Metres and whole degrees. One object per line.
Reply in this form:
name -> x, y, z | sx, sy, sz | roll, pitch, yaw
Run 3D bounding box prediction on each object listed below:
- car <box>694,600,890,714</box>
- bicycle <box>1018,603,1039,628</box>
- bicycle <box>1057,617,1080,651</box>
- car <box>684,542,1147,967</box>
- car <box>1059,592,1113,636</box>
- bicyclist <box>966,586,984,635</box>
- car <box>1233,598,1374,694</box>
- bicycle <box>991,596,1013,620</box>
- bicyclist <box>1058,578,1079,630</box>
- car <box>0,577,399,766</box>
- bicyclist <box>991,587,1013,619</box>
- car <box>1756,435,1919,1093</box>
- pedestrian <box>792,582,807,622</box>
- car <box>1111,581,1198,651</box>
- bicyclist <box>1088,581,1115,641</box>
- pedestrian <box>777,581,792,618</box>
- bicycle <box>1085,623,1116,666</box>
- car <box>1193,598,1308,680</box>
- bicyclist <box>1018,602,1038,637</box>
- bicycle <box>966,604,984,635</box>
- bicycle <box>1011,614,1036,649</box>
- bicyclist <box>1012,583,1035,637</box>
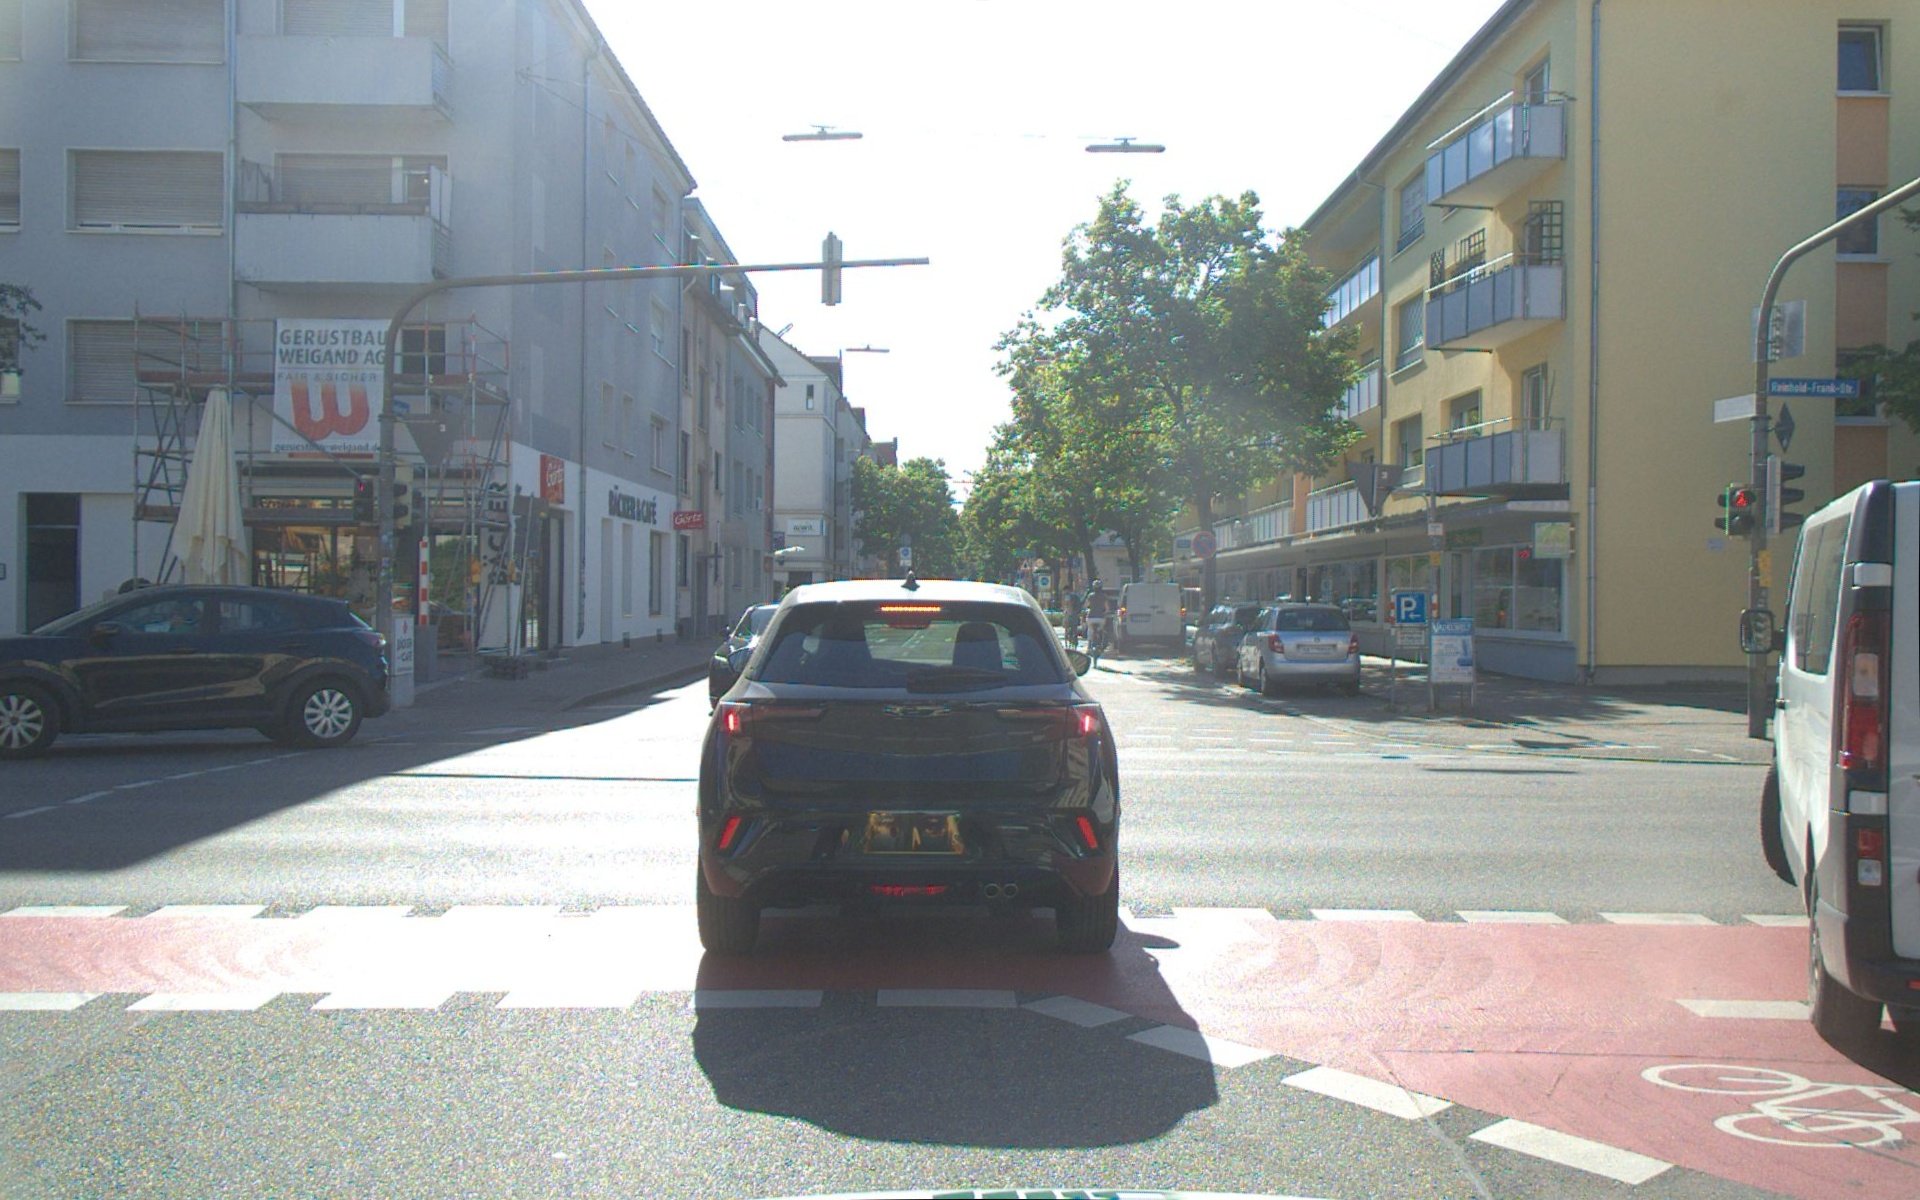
car -> -2.307, 0.755, 23.922 | 1.766, 1.437, 4.430 | -1, 0, 8
bicycle -> 2.443, 0.551, 59.285 | 0.677, 0.881, 1.876 | 0, 0, 1
bicycle -> 2.976, 0.917, 45.432 | 0.535, 0.881, 1.876 | 0, 0, 1
car -> -0.184, 0.584, 8.215 | 1.726, 1.586, 3.999 | 1, 0, -1
car -> 4.486, 0.477, 59.325 | 1.677, 1.509, 3.381 | 0, 0, 0
bicyclist -> 0.524, 0.365, 58.156 | 0.619, 1.698, 1.050 | 0, 0, -1
car -> 5.814, 0.743, 28.355 | 1.677, 1.509, 3.480 | 0, 0, 0
bicycle -> 1.783, 0.322, 71.106 | 0.839, 0.961, 2.307 | 3, 0, -1
bicyclist -> 2.975, 0.113, 45.318 | 0.535, 1.406, 0.823 | 0, 0, 1
car -> -7.492, 0.606, 15.389 | 4.046, 1.593, 1.576 | 0, -1, -38
bicyclist -> 1.793, 0.126, 71.031 | 0.839, 1.337, 1.210 | 3, 0, -1
car -> 4.586, 0.550, 6.980 | 1.928, 1.974, 5.054 | 2, 0, 23
pedestrian -> -6.512, 0.083, 67.086 | 0.566, 1.610, 0.707 | 0, 0, -6
car -> 5.442, 0.420, 46.822 | 2.004, 1.879, 4.584 | 0, 0, 1
bicyclist -> 3.054, 0.232, 35.737 | 0.535, 1.284, 0.803 | 0, 0, 1
pedestrian -> -7.113, -0.014, 67.095 | 0.566, 1.493, 0.702 | 0, 0, -6
bicycle -> 3.043, 0.949, 35.813 | 0.535, 0.881, 1.876 | 0, 0, 1
car -> 5.720, 0.731, 32.915 | 1.677, 1.509, 3.381 | 0, 0, 0
bicyclist -> 2.451, 0.698, 59.468 | 0.677, 1.214, 0.595 | 0, 0, 1
bicycle -> 0.520, 0.675, 58.375 | 0.619, 1.059, 1.795 | 0, 0, -1
bicycle -> 1.679, 0.817, 44.050 | 0.607, 0.881, 1.876 | 0, 0, 1
bicyclist -> 1.684, 0.258, 44.060 | 0.576, 1.406, 0.823 | 0, 0, 1
